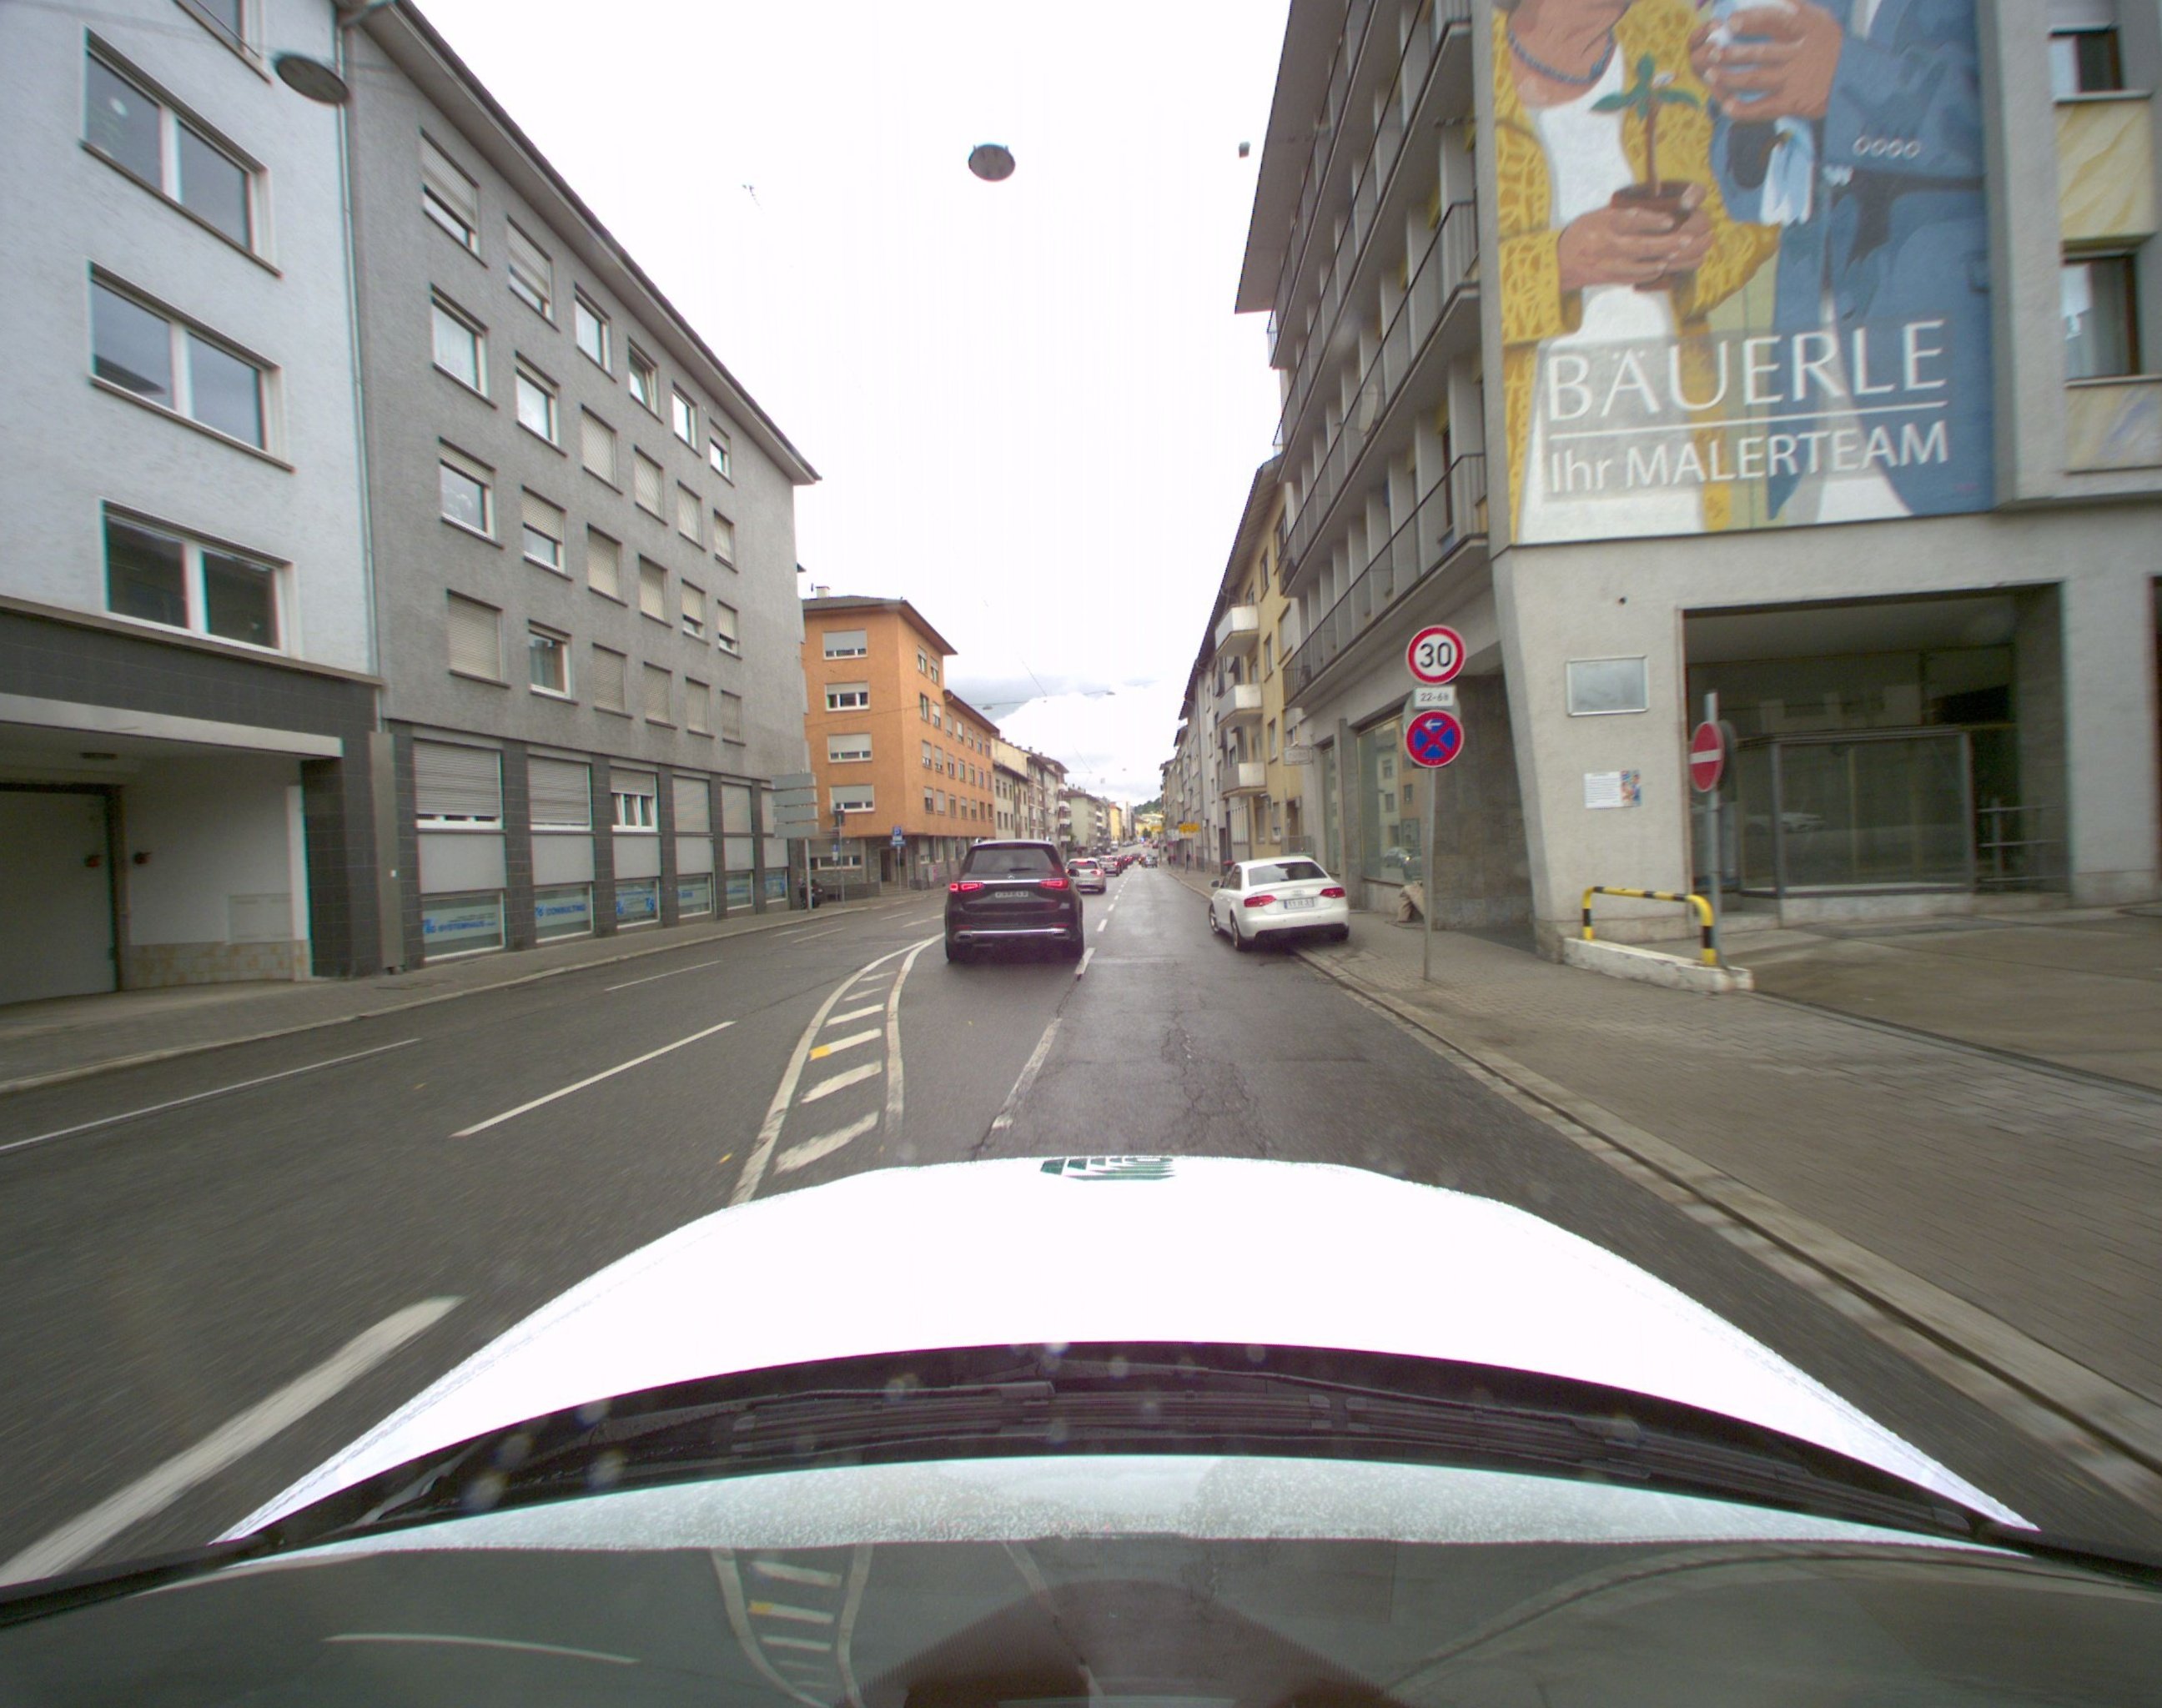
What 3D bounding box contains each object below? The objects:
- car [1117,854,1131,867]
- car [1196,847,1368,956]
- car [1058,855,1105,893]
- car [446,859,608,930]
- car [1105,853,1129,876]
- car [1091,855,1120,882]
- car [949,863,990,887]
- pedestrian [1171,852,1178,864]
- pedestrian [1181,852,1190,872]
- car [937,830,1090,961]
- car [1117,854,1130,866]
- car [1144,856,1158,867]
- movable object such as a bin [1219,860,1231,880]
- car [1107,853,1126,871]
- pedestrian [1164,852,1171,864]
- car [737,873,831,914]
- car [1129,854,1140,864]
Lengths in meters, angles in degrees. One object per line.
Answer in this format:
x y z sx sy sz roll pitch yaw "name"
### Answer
6.708 0.940 127.450 1.983 2.013 4.007 0 0 6 "car"
3.288 0.697 14.322 1.886 1.402 4.610 -6 0 2 "car"
0.093 0.807 35.210 1.886 1.510 4.175 1 0 2 "car"
-23.604 1.688 34.852 5.327 2.459 1.981 -5 -1 -2 "car"
3.367 0.950 75.064 1.983 2.013 4.007 0 0 6 "car"
1.972 1.085 63.887 1.983 2.013 4.007 0 0 6 "car"
-7.337 1.347 53.852 1.884 1.458 4.552 0 0 2 "car"
11.858 0.513 103.497 0.816 1.565 0.901 0 0 7 "pedestrian"
9.302 0.724 72.340 0.651 1.752 0.743 -4 -1 9 "pedestrian"
-1.121 0.550 13.382 2.073 1.765 4.602 0 0 -6 "car"
6.970 0.928 132.820 1.983 2.013 4.007 0 0 6 "car"
9.330 1.003 109.007 1.727 1.388 4.586 0 0 3 "car"
7.285 0.827 41.164 0.470 0.962 0.565 -5 -1 5 "movable object such as a bin"
4.175 0.948 95.664 1.983 2.013 4.007 0 0 6 "car"
10.973 0.467 103.581 0.816 1.565 0.901 0 0 7 "pedestrian"
-15.318 2.031 42.150 3.970 1.652 1.932 -5 -1 4 "car"
10.466 0.932 159.620 1.983 2.013 4.007 0 0 6 "car"
